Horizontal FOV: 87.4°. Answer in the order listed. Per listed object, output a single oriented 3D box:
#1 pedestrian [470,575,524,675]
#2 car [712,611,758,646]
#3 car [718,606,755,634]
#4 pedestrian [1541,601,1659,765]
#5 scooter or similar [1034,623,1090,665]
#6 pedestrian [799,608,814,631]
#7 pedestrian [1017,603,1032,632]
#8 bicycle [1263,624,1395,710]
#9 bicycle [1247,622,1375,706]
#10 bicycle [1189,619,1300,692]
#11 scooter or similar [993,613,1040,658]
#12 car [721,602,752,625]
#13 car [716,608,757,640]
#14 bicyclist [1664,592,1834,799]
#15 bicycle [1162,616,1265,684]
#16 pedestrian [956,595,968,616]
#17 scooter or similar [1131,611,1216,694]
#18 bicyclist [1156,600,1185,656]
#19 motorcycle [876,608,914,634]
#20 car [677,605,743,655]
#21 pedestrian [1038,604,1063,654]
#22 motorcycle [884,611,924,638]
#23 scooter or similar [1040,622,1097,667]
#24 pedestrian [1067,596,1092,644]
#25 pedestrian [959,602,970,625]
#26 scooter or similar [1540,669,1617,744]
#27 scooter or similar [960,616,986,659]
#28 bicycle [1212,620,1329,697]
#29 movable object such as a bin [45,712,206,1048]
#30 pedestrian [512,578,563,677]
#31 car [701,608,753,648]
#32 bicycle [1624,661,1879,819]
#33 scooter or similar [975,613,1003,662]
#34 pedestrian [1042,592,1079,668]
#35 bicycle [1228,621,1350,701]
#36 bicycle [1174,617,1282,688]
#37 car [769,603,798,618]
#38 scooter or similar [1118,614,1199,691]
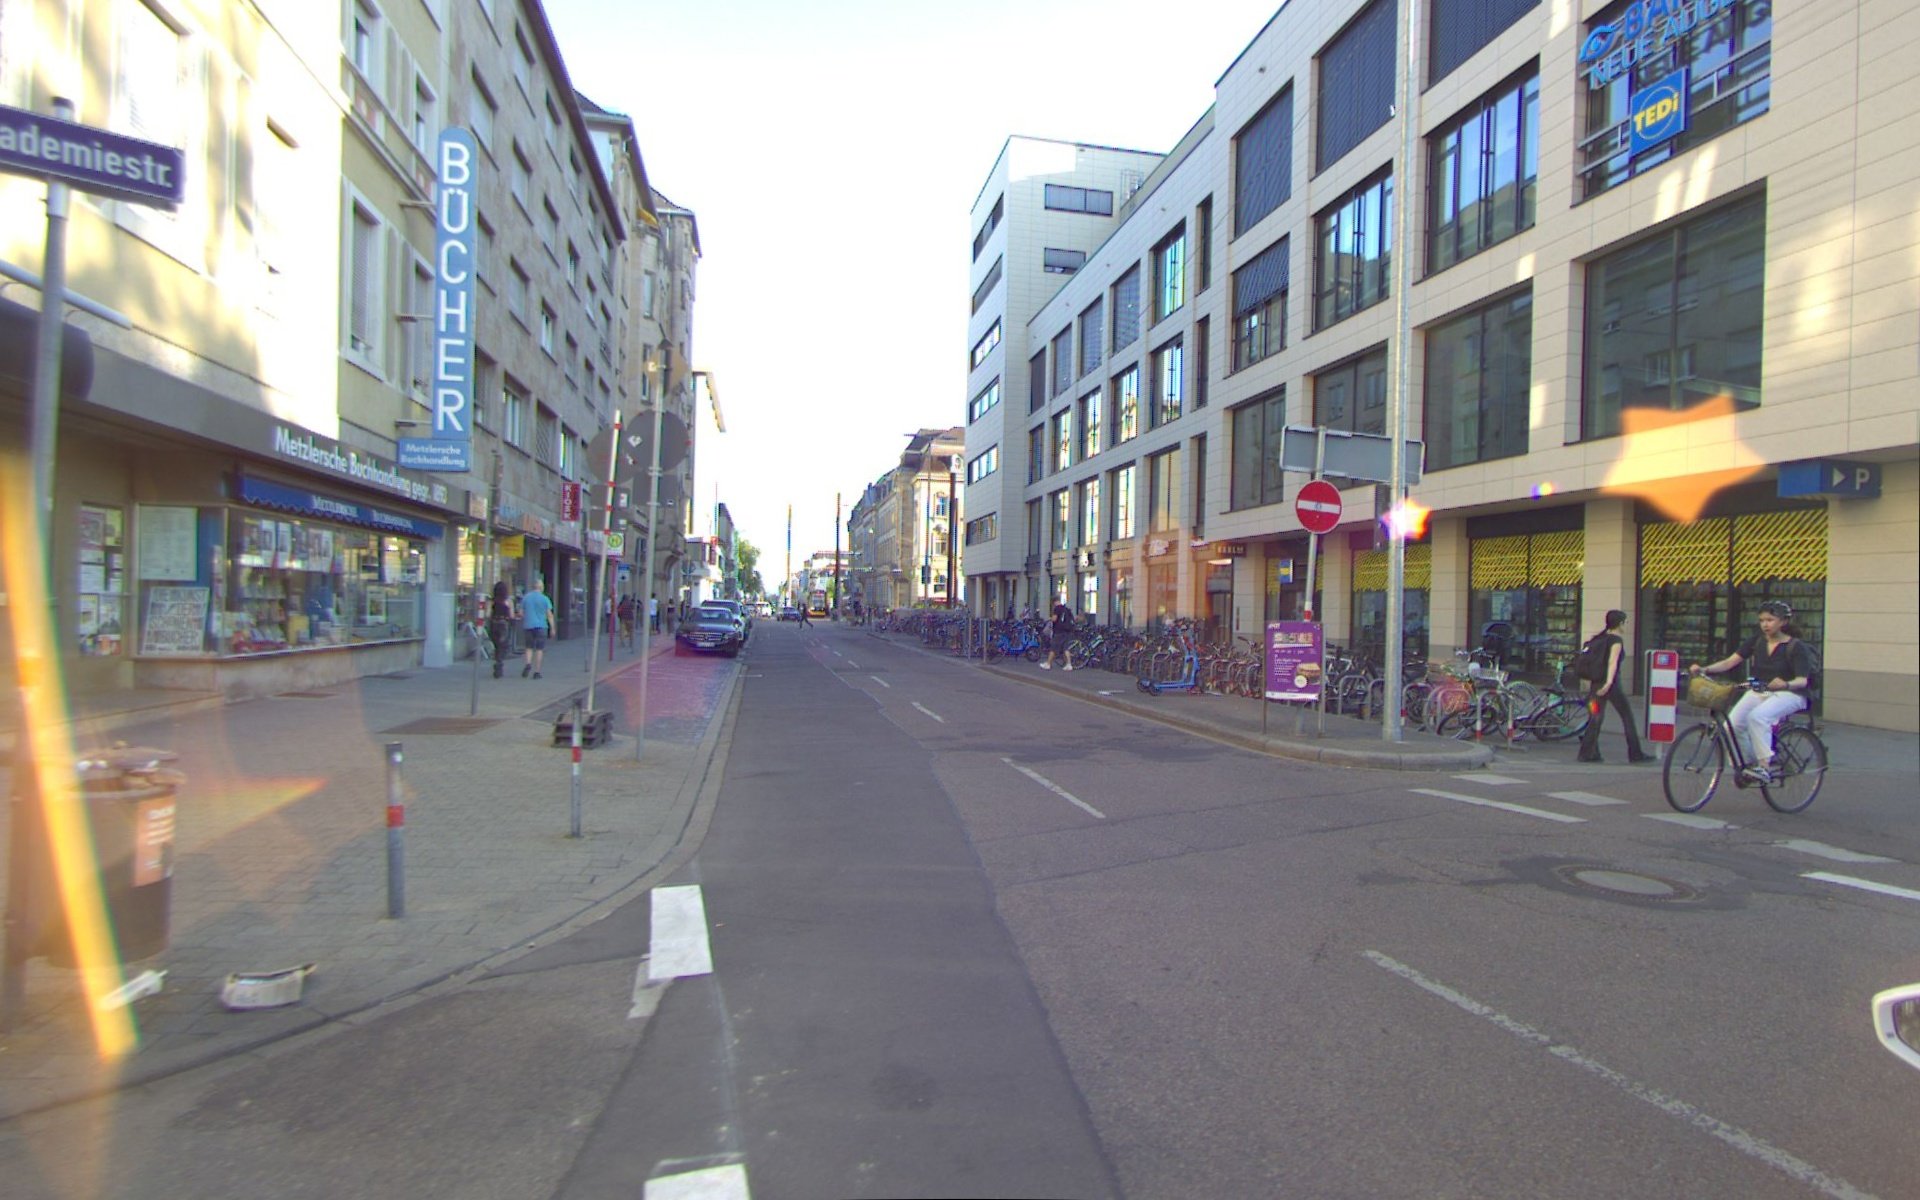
[{"bbox_3d":[-8.253,0.436,17.936,0.654,1.730,0.801,2,0,-12],"label":"pedestrian"},{"bbox_3d":[-10.053,1.258,44.717,1.832,1.409,3.988,1,0,-14],"label":"car"},{"bbox_3d":[-12.208,1.086,54.736,1.832,1.409,3.988,1,0,-14],"label":"car"},{"bbox_3d":[6.828,0.867,10.724,0.858,1.680,0.616,2,0,-18],"label":"pedestrian"},{"bbox_3d":[2.461,1.057,24.257,1.249,0.954,0.387,2,0,-13],"label":"scooter or similar"},{"bbox_3d":[-9.822,1.267,64.212,0.908,1.448,0.401,1,0,-16],"label":"pedestrian"},{"bbox_3d":[3.800,1.032,59.193,0.672,1.718,0.643,1,0,-13],"label":"pedestrian"},{"bbox_3d":[5.798,1.053,15.784,1.945,1.271,0.512,2,0,-13],"label":"bicycle"},{"bbox_3d":[5.710,1.039,16.349,1.945,1.271,0.512,2,0,-13],"label":"bicycle"},{"bbox_3d":[5.278,1.022,18.623,1.946,1.271,0.512,2,0,-15],"label":"bicycle"},{"bbox_3d":[1.635,1.026,29.011,1.249,1.259,0.387,2,0,-13],"label":"scooter or similar"},{"bbox_3d":[-14.794,0.899,66.409,1.832,1.409,3.988,1,0,-14],"label":"car"},{"bbox_3d":[-10.977,1.139,49.133,1.832,1.409,3.988,1,0,-14],"label":"car"},{"bbox_3d":[6.361,0.747,8.123,0.849,1.591,0.658,2,0,-15],"label":"bicyclist"},{"bbox_3d":[5.048,0.998,20.019,1.945,1.271,0.512,2,0,-13],"label":"bicycle"},{"bbox_3d":[0.104,0.370,69.438,0.672,1.444,0.643,1,0,-13],"label":"pedestrian"},{"bbox_3d":[3.459,0.849,16.276,1.249,1.277,0.387,2,0,-13],"label":"scooter or similar"},{"bbox_3d":[6.653,0.877,31.773,0.672,1.718,0.643,1,0,-11],"label":"bicyclist"},{"bbox_3d":[-3.456,1.106,53.353,1.949,1.271,0.511,2,0,-21],"label":"motorcycle"},{"bbox_3d":[-7.783,0.887,31.257,1.832,1.409,3.988,1,0,-14],"label":"car"},{"bbox_3d":[3.160,1.005,35.123,0.672,1.718,0.643,1,0,-13],"label":"pedestrian"},{"bbox_3d":[-2.880,1.262,51.822,1.949,1.271,0.511,2,0,-21],"label":"motorcycle"},{"bbox_3d":[2.550,1.048,23.584,1.249,1.005,0.387,2,0,-13],"label":"scooter or similar"},{"bbox_3d":[4.341,0.728,36.522,0.672,1.718,0.643,1,0,-13],"label":"pedestrian"},{"bbox_3d":[0.373,1.057,76.384,0.672,1.718,0.643,1,0,-13],"label":"pedestrian"},{"bbox_3d":[7.881,1.354,12.797,0.757,0.896,0.387,2,0,-13],"label":"scooter or similar"},{"bbox_3d":[0.378,1.076,29.155,0.507,1.196,1.269,2,0,-8],"label":"scooter or similar"},{"bbox_3d":[5.511,1.037,17.820,1.945,1.271,0.512,2,0,-13],"label":"bicycle"},{"bbox_3d":[-3.016,0.971,3.632,0.354,1.078,0.355,2,0,37],"label":"movable object such as a bin"},{"bbox_3d":[-7.581,0.488,18.051,0.654,1.730,0.801,2,0,-12],"label":"pedestrian"},{"bbox_3d":[-9.147,1.054,39.272,1.832,1.409,4.609,1,0,-14],"label":"car"},{"bbox_3d":[6.401,1.113,8.141,1.792,1.153,0.664,2,0,-16],"label":"bicycle"},{"bbox_3d":[0.779,1.006,27.176,0.507,1.259,1.269,2,0,-8],"label":"scooter or similar"},{"bbox_3d":[2.312,0.682,23.182,0.672,1.718,0.643,2,0,-9],"label":"pedestrian"},{"bbox_3d":[5.590,1.040,17.056,1.945,1.271,0.512,2,0,-13],"label":"bicycle"},{"bbox_3d":[5.137,1.005,19.237,1.945,1.271,0.512,2,0,-13],"label":"bicycle"},{"bbox_3d":[-16.747,0.975,95.150,1.970,1.372,3.982,2,0,-20],"label":"car"},{"bbox_3d":[3.317,0.877,16.786,1.249,1.228,0.387,2,0,-13],"label":"scooter or similar"}]
